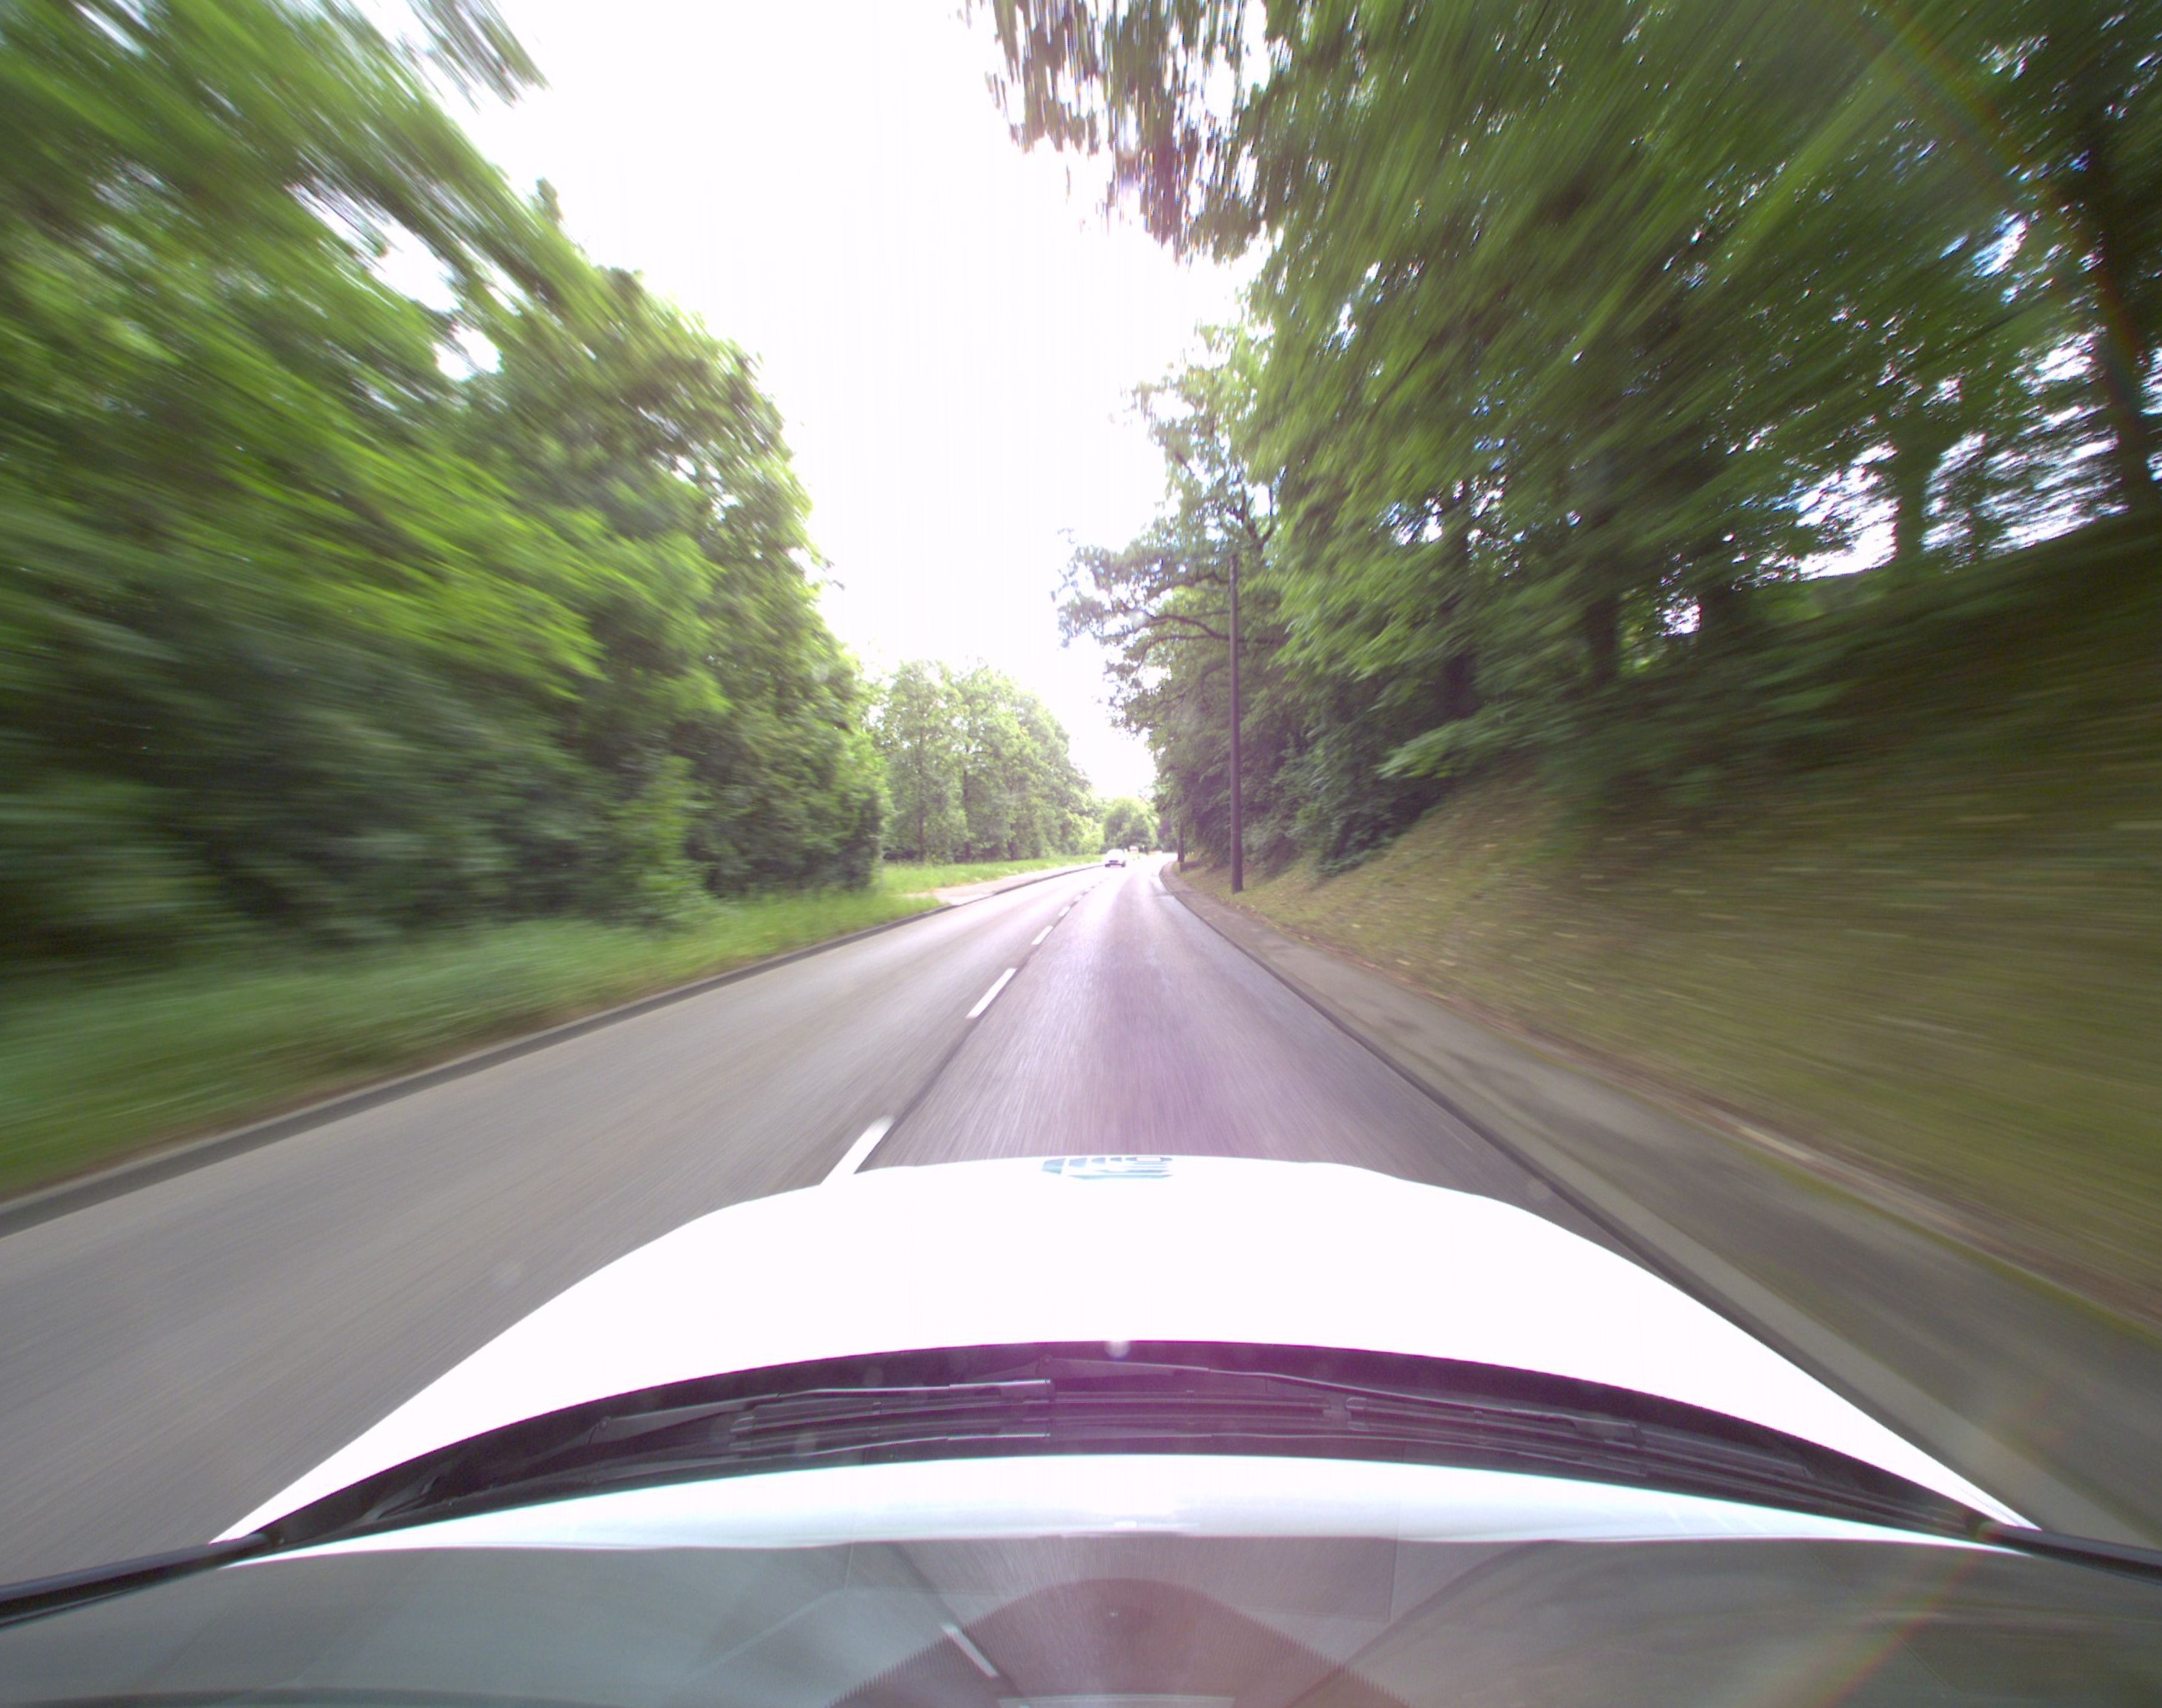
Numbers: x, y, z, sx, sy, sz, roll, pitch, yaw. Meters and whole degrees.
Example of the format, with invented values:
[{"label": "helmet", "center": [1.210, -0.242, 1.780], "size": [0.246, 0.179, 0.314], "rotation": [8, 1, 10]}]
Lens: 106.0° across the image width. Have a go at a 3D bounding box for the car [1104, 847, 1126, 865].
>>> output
[{"label": "car", "center": [3.380, 0.194, 80.887], "size": [1.984, 1.753, 4.788], "rotation": [-1, -1, 5]}]
